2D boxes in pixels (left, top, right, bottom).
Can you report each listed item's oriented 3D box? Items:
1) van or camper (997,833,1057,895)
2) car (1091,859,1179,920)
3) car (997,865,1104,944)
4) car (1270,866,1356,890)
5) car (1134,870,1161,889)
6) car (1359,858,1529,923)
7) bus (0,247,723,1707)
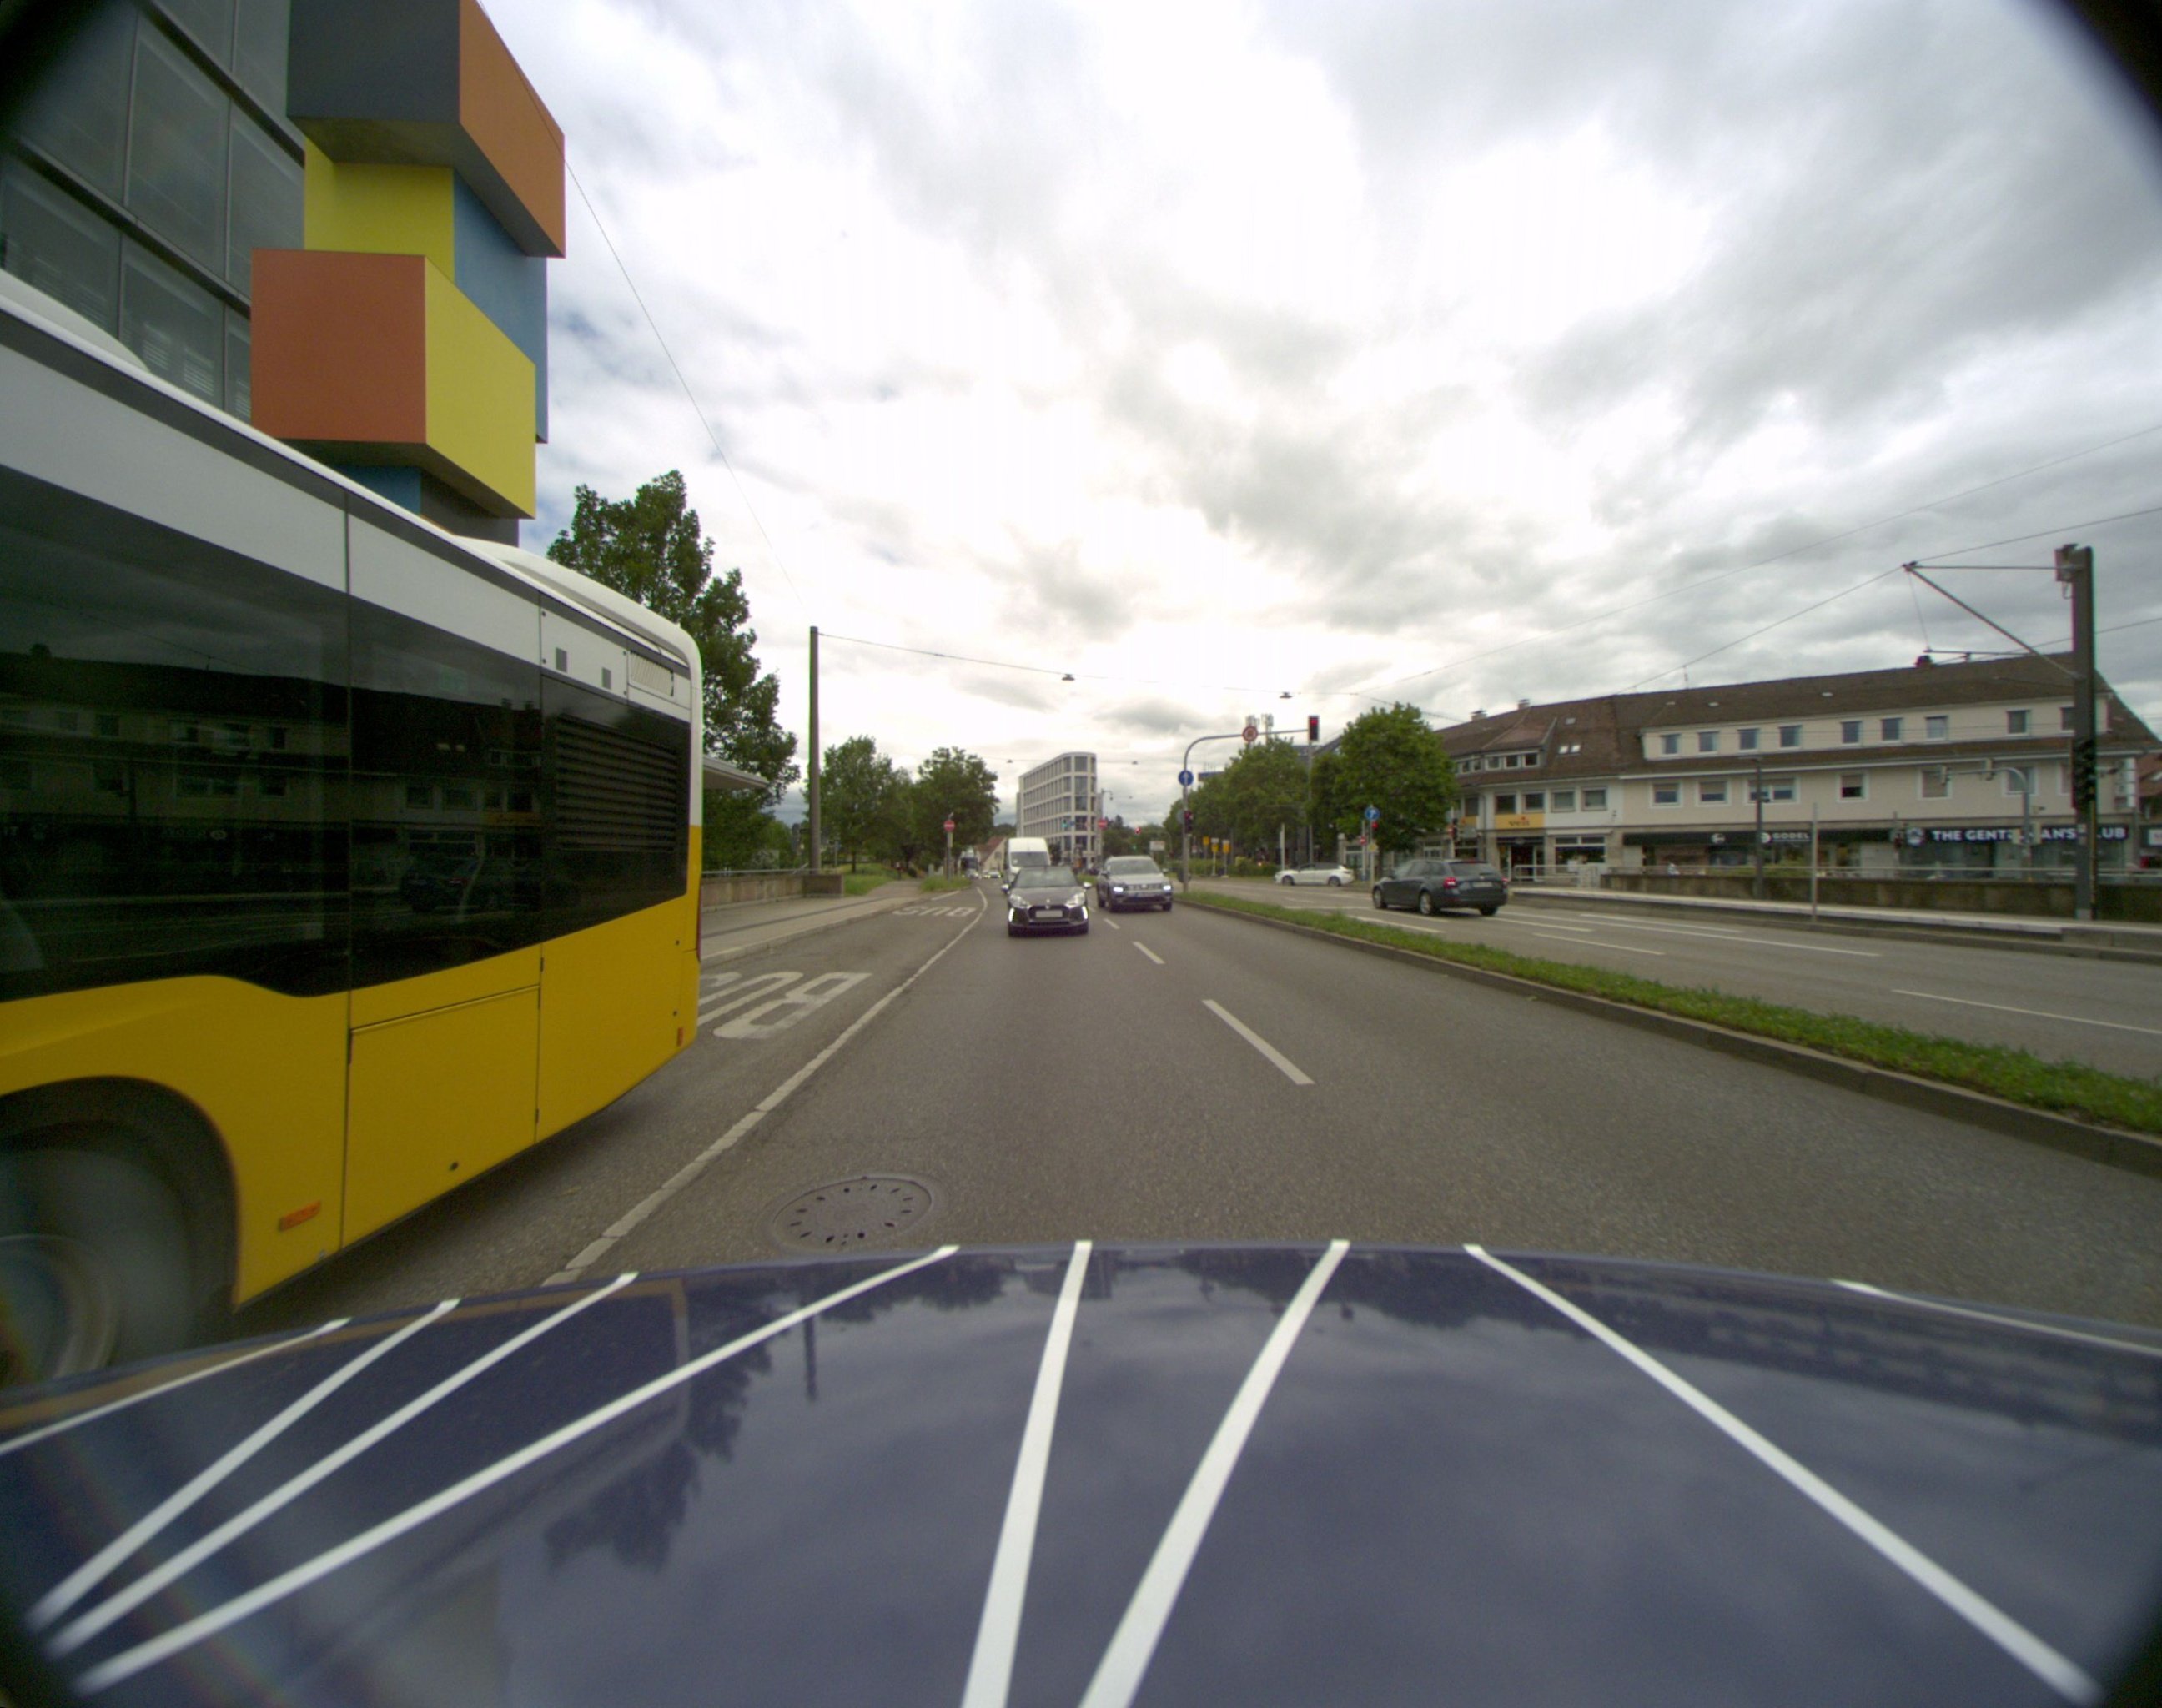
[{"bbox_3d":[-2.733,0.471,36.691,2.281,2.690,6.990,0,0,-9],"label":"van or camper"},{"bbox_3d":[1.554,1.008,23.520,1.999,1.640,4.391,-2,0,-5],"label":"car"},{"bbox_3d":[-0.811,1.034,17.106,1.865,1.516,3.996,0,0,-10],"label":"car"},{"bbox_3d":[14.097,1.442,46.182,4.798,1.348,2.004,0,0,24],"label":"car"},{"bbox_3d":[5.333,1.995,60.472,1.997,1.348,4.813,0,0,7],"label":"car"},{"bbox_3d":[9.346,0.865,20.076,1.999,1.503,4.643,0,0,-4],"label":"car"},{"bbox_3d":[-3.620,0.256,0.504,2.719,3.090,8.869,0,0,-1],"label":"bus"}]
